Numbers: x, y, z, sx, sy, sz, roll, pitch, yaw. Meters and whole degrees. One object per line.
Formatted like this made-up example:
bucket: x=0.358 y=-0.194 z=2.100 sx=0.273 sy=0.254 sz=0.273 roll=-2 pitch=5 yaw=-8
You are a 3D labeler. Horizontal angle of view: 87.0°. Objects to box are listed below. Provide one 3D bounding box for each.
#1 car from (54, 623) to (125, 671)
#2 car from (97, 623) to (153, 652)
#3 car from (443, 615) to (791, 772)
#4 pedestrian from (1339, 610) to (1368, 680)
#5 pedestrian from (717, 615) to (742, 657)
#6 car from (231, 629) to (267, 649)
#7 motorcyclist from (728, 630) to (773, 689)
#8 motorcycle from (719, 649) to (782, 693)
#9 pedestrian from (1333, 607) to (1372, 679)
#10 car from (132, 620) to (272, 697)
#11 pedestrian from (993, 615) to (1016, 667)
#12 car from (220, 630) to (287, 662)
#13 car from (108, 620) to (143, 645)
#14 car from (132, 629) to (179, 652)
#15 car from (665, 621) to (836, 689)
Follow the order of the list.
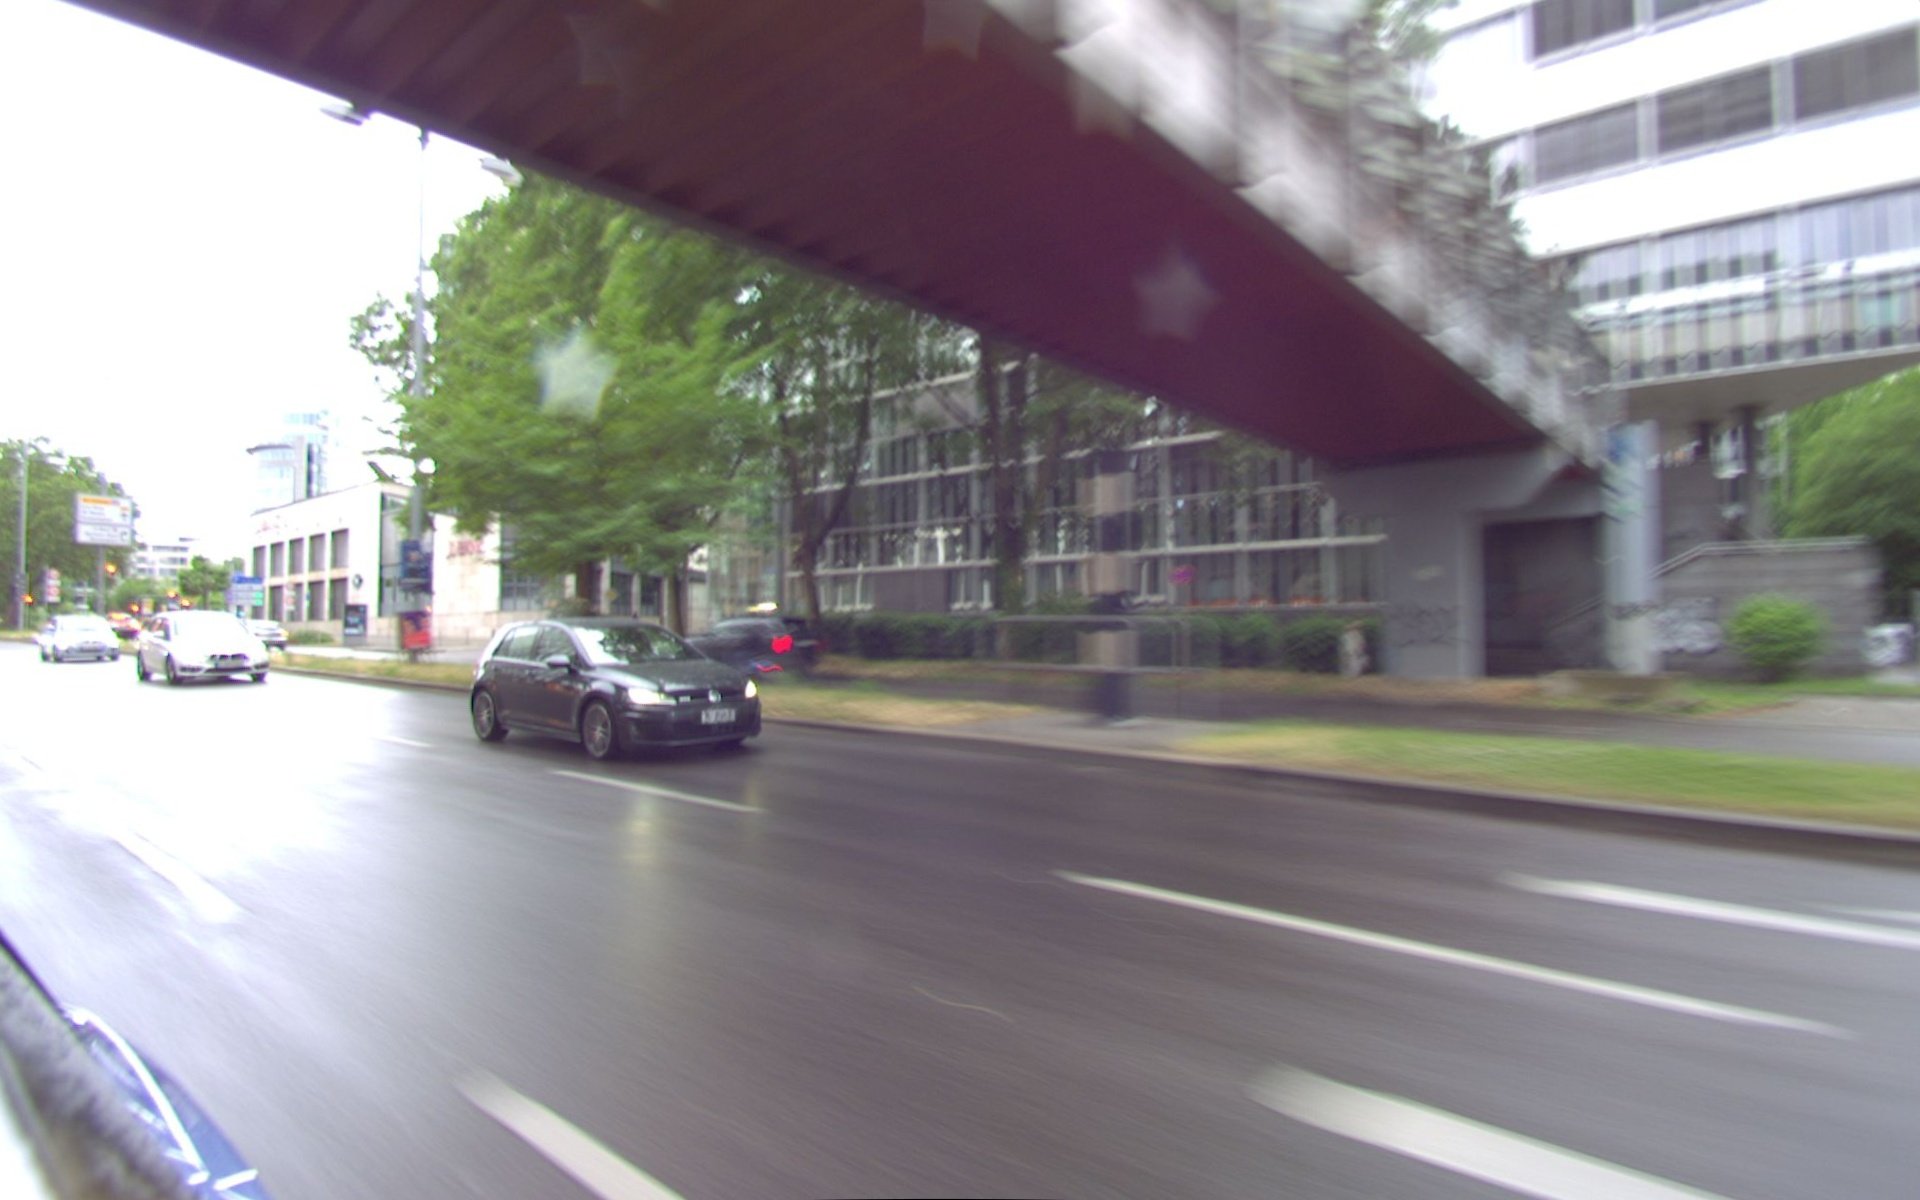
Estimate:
car: x=-29.338 y=1.539 z=34.095 sx=1.589 sy=1.452 sz=3.496 roll=-1 pitch=0 yaw=-44
car: x=-51.283 y=2.289 z=62.127 sx=4.678 sy=1.693 sz=1.854 roll=0 pitch=-2 yaw=41
car: x=-3.974 y=0.924 z=11.439 sx=4.117 sy=1.463 sz=1.767 roll=-1 pitch=-2 yaw=38
pedestrian: x=10.389 y=1.187 z=26.739 sx=0.511 sy=1.821 sz=0.599 roll=-2 pitch=-3 yaw=41
pedestrian: x=-10.000 y=1.551 z=43.831 sx=0.802 sy=1.821 sz=0.727 roll=-2 pitch=-3 yaw=41
car: x=-51.777 y=2.822 z=73.646 sx=1.574 sy=1.426 sz=3.403 roll=2 pitch=-2 yaw=-44
motorcyclist: x=-5.246 y=1.472 z=25.375 sx=0.969 sy=1.429 sz=0.631 roll=-1 pitch=-2 yaw=41
motorcycle: x=-5.264 y=1.760 z=25.380 sx=1.804 sy=1.029 sz=0.578 roll=-1 pitch=-2 yaw=41
pedestrian: x=10.143 y=1.112 z=26.138 sx=0.759 sy=1.821 sz=0.590 roll=-2 pitch=-3 yaw=41
car: x=-17.495 y=1.278 z=23.303 sx=3.998 sy=1.608 sz=1.758 roll=0 pitch=-2 yaw=41
pedestrian: x=1.479 y=1.359 z=33.762 sx=0.511 sy=1.699 sz=0.553 roll=-2 pitch=-3 yaw=41
car: x=-35.362 y=2.288 z=50.607 sx=4.076 sy=1.475 sz=1.645 roll=-1 pitch=-4 yaw=39
car: x=-69.695 y=2.724 z=84.533 sx=1.809 sy=2.017 sz=5.108 roll=2 pitch=-2 yaw=-44
car: x=-55.143 y=2.762 z=69.367 sx=4.757 sy=1.449 sz=1.673 roll=0 pitch=-2 yaw=41
car: x=-6.177 y=1.579 z=29.504 sx=5.179 sy=1.782 sz=1.980 roll=-1 pitch=-5 yaw=39
